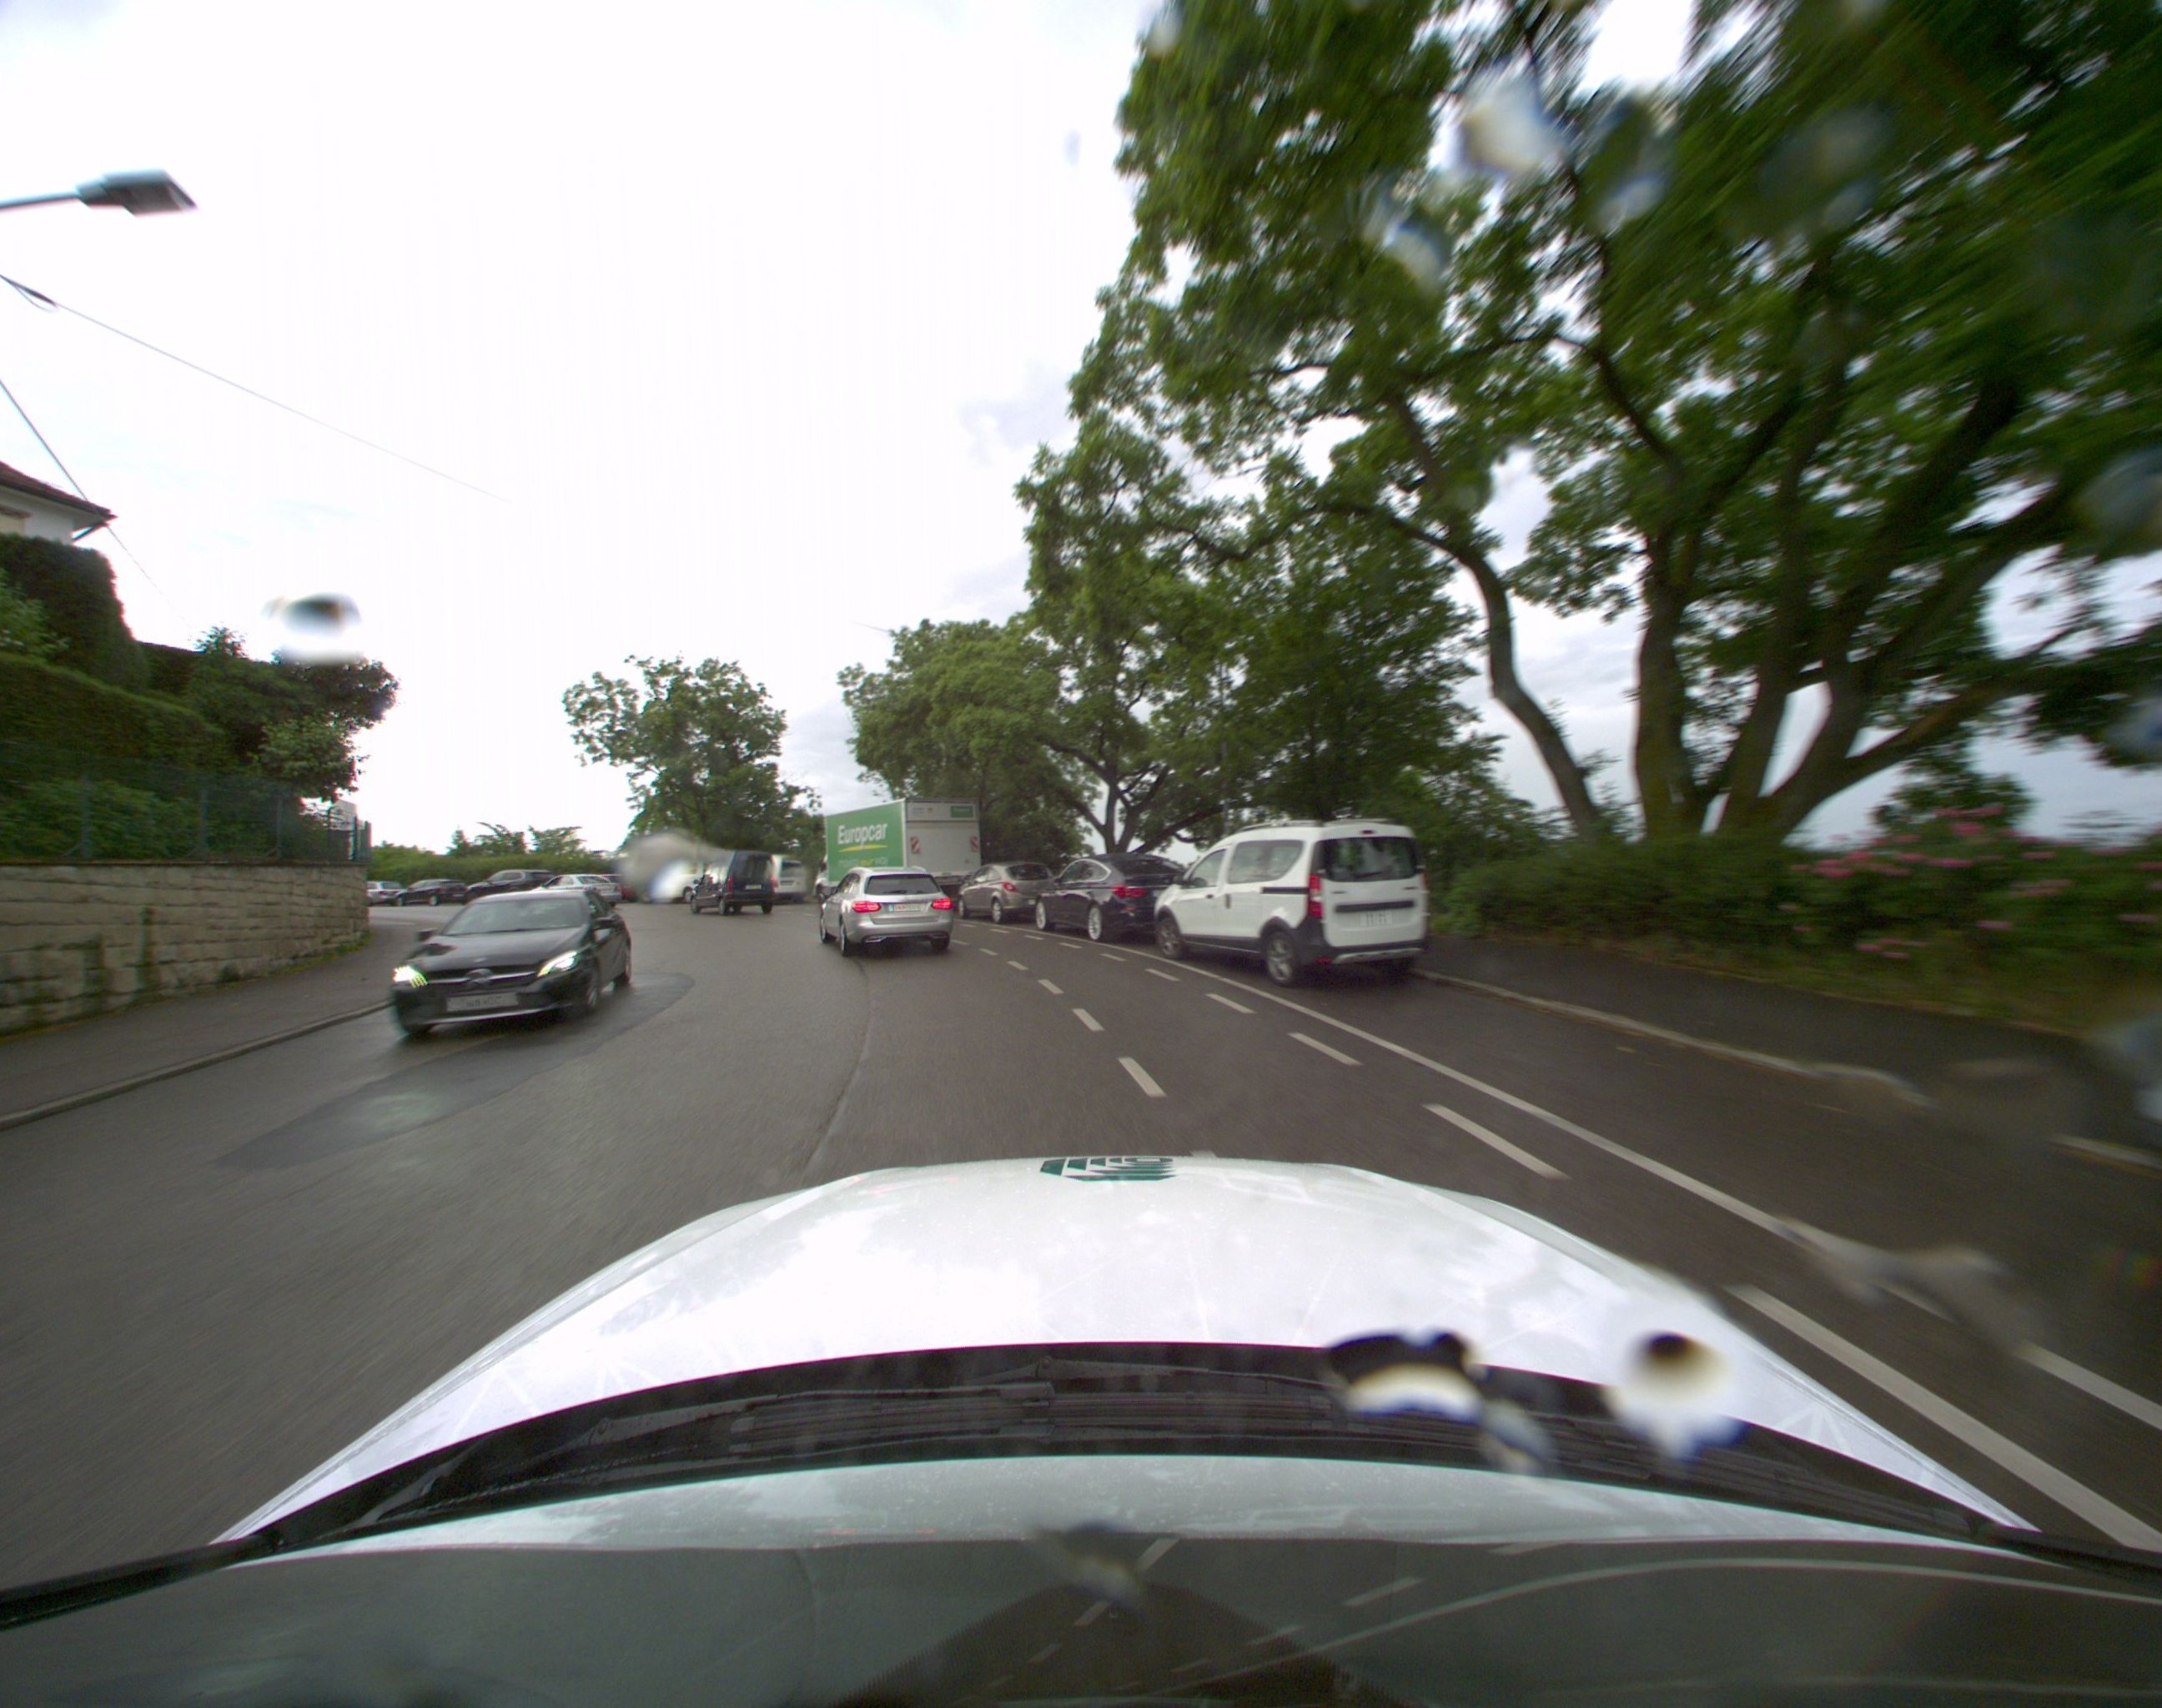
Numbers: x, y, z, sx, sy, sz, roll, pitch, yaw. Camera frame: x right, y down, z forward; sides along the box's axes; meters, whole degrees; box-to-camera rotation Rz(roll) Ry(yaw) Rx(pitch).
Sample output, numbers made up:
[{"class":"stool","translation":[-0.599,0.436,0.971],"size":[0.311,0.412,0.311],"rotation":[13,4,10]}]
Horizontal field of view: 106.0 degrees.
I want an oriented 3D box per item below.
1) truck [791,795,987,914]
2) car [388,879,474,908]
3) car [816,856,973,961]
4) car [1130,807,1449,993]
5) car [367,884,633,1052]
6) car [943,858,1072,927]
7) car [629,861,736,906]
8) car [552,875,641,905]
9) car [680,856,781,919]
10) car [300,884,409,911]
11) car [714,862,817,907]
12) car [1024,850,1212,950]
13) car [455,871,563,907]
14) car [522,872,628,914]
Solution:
[{"class":"truck","translation":[-6.903,0.097,27.949],"size":[2.797,3.470,8.828],"rotation":[-2,0,-40]},{"class":"car","translation":[-34.544,2.088,43.276],"size":[3.937,1.422,1.702],"rotation":[-3,-3,19]},{"class":"car","translation":[-3.538,0.896,14.829],"size":[1.992,1.554,4.263],"rotation":[-1,-1,-24]},{"class":"car","translation":[2.385,0.491,10.635],"size":[1.753,1.821,4.392],"rotation":[-3,0,-21]},{"class":"car","translation":[-6.774,1.171,10.008],"size":[1.796,1.434,4.082],"rotation":[-3,0,-24]},{"class":"car","translation":[-1.998,0.939,20.966],"size":[1.744,1.503,4.097],"rotation":[-3,0,-29]},{"class":"car","translation":[-18.419,1.378,37.596],"size":[4.748,1.948,1.877],"rotation":[-2,-1,25]},{"class":"car","translation":[-23.930,1.802,40.242],"size":[3.701,1.414,1.683],"rotation":[-1,-3,17]},{"class":"car","translation":[-11.956,1.138,27.662],"size":[1.840,1.882,4.045],"rotation":[-3,0,-43]},{"class":"car","translation":[-40.578,2.419,45.533],"size":[4.605,1.440,1.807],"rotation":[-1,-4,4]},{"class":"car","translation":[-13.390,1.293,34.439],"size":[4.322,1.771,1.878],"rotation":[-2,-1,33]},{"class":"car","translation":[0.497,0.810,15.999],"size":[1.867,1.542,4.860],"rotation":[-3,0,-21]},{"class":"car","translation":[-29.323,1.807,41.763],"size":[4.842,1.783,2.043],"rotation":[-1,-3,19]},{"class":"car","translation":[-20.804,1.598,33.460],"size":[4.043,1.458,1.871],"rotation":[-3,0,28]}]
